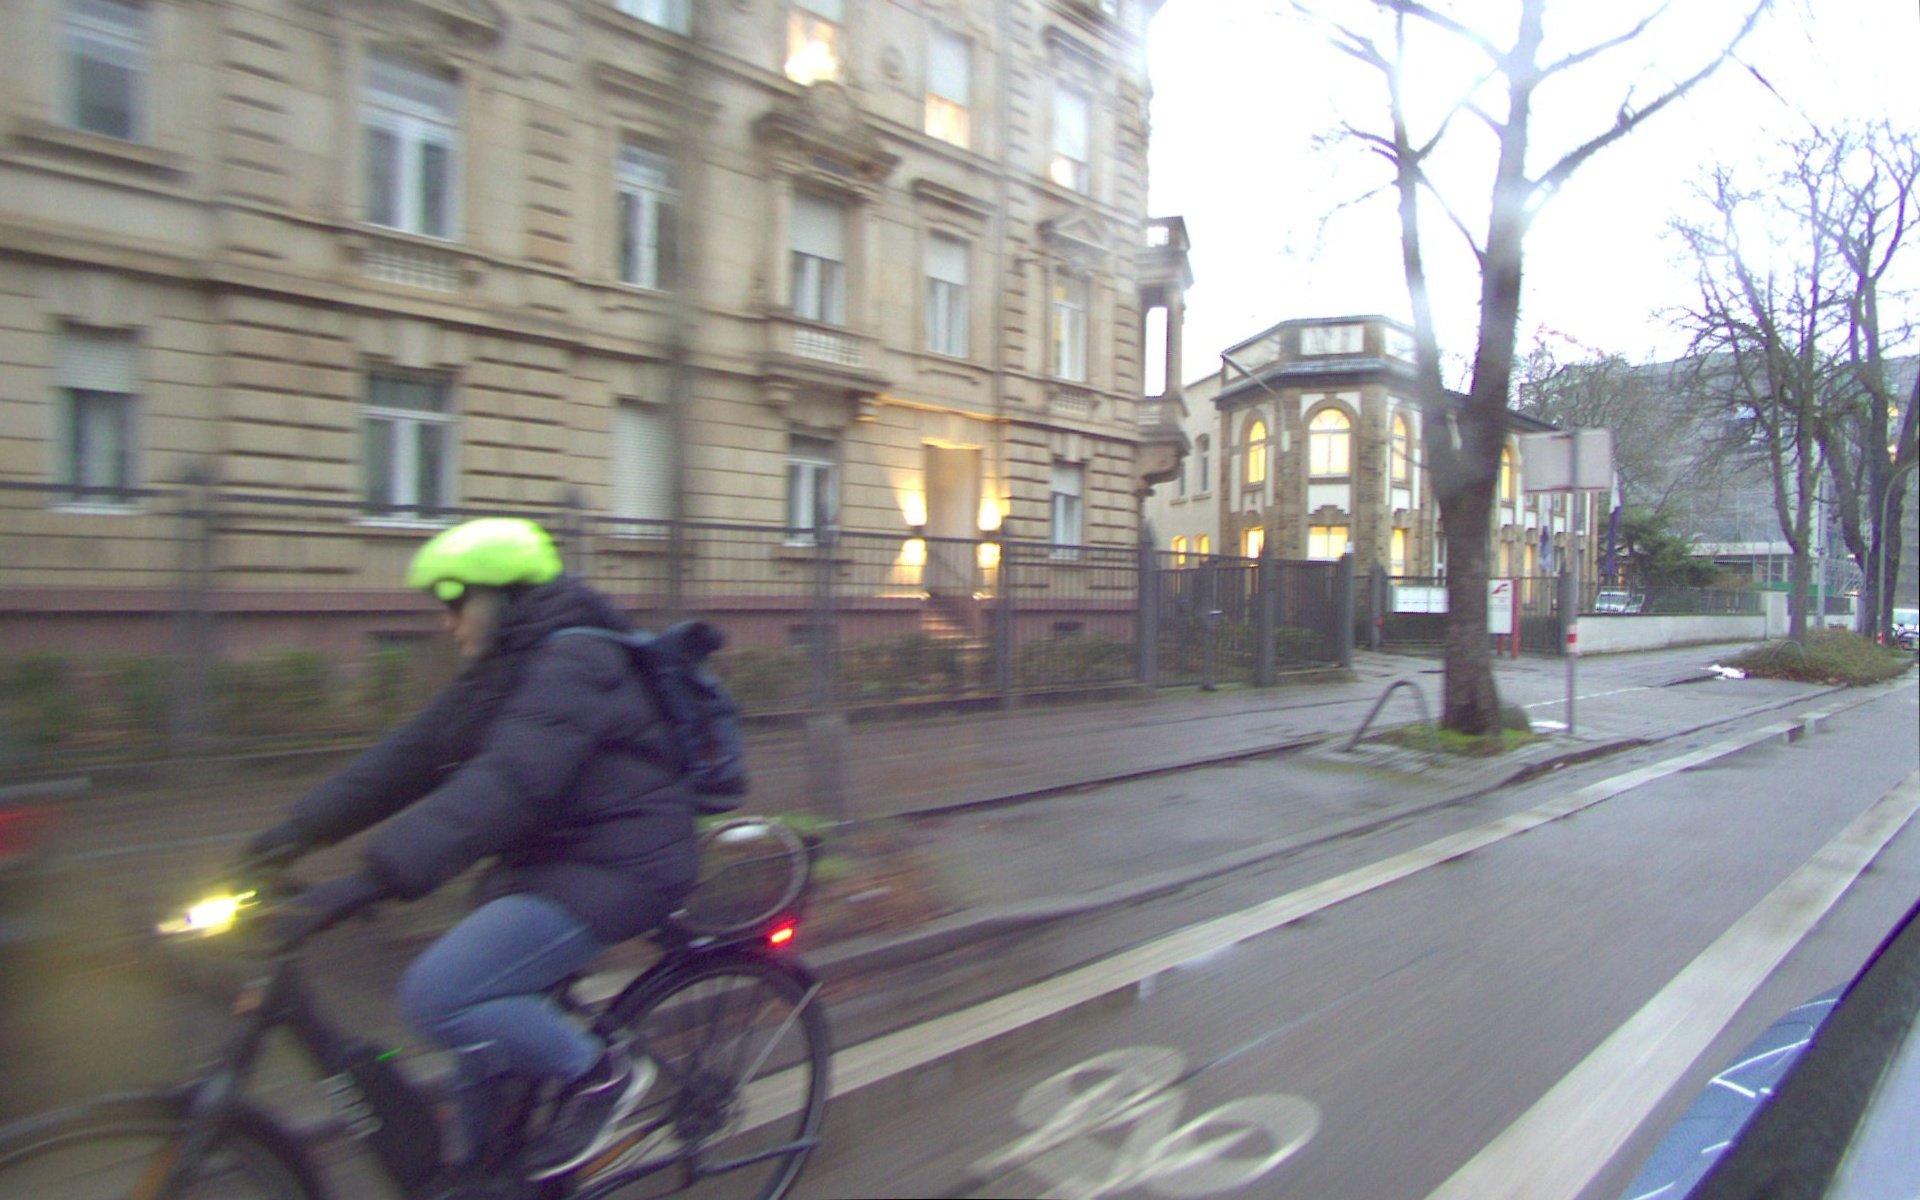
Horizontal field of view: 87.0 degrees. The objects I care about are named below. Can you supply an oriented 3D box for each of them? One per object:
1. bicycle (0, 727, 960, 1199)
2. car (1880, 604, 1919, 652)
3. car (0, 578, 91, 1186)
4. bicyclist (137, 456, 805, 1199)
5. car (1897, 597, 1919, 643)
[{"bbox_3d":[-0.925,0.931,2.049,1.910,1.126,0.717,1,-1,-45],"label":"bicycle"},{"bbox_3d":[31.038,0.883,32.740,3.934,1.425,1.625,-1,1,-44],"label":"car"},{"bbox_3d":[-4.359,0.678,1.910,4.086,1.463,1.761,1,2,-42],"label":"car"},{"bbox_3d":[-0.948,0.645,2.038,1.039,1.684,0.717,1,-2,-45],"label":"bicyclist"},{"bbox_3d":[38.017,0.753,39.440,3.934,1.703,1.995,-1,0,-44],"label":"car"}]
